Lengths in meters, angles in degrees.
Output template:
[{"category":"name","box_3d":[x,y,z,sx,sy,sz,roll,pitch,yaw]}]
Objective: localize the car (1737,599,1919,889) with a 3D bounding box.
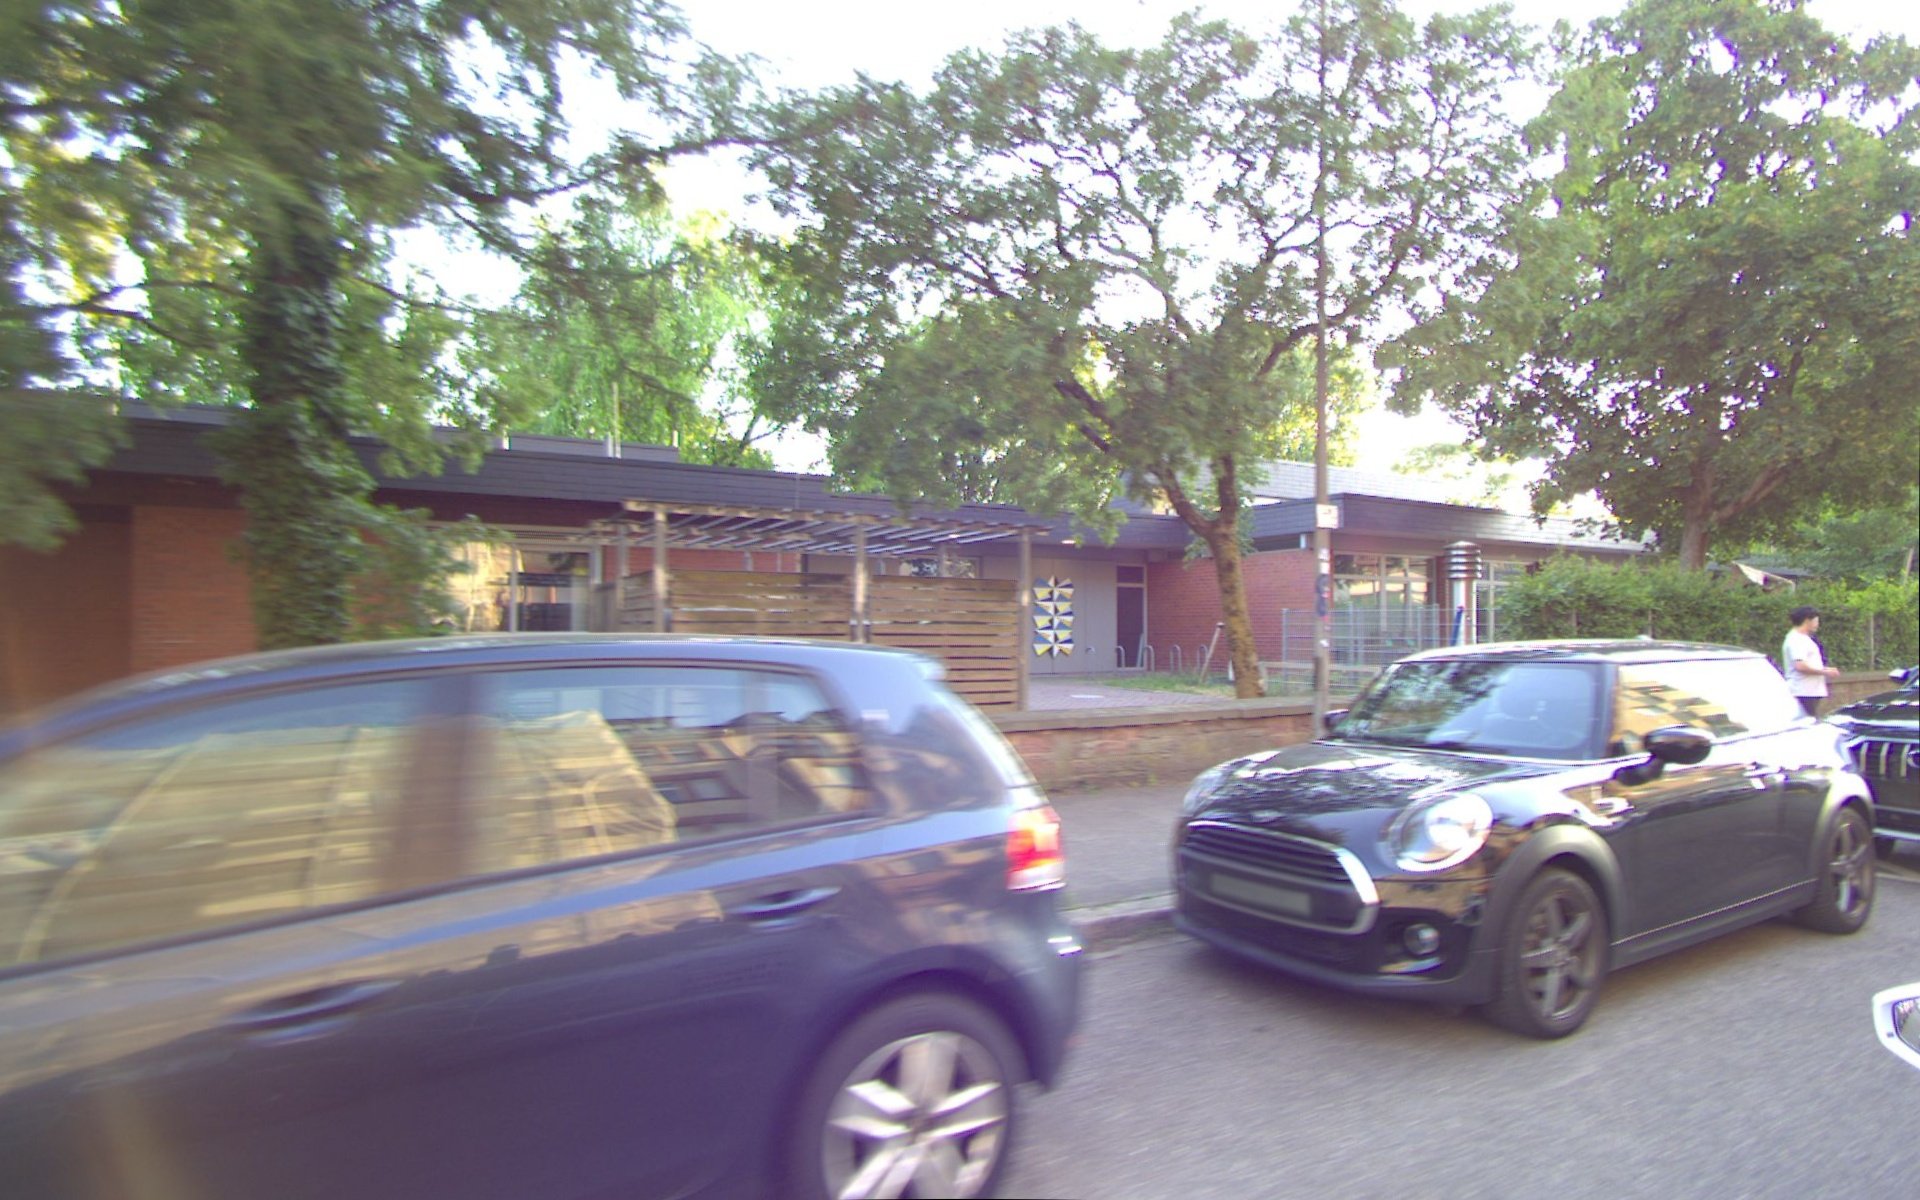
[{"category":"car","box_3d":[7.341,0.816,6.387,4.499,1.590,1.801,1,-2,-23]}]

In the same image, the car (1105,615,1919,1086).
[{"category":"car","box_3d":[2.791,0.867,4.909,3.943,1.497,1.630,1,-3,-29]}]

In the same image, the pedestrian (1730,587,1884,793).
[{"category":"pedestrian","box_3d":[8.112,0.817,9.637,0.778,1.855,0.933,1,-1,-31]}]

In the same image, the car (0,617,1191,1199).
[{"category":"car","box_3d":[-1.650,0.830,2.372,4.311,1.515,1.707,1,-3,-31]}]
